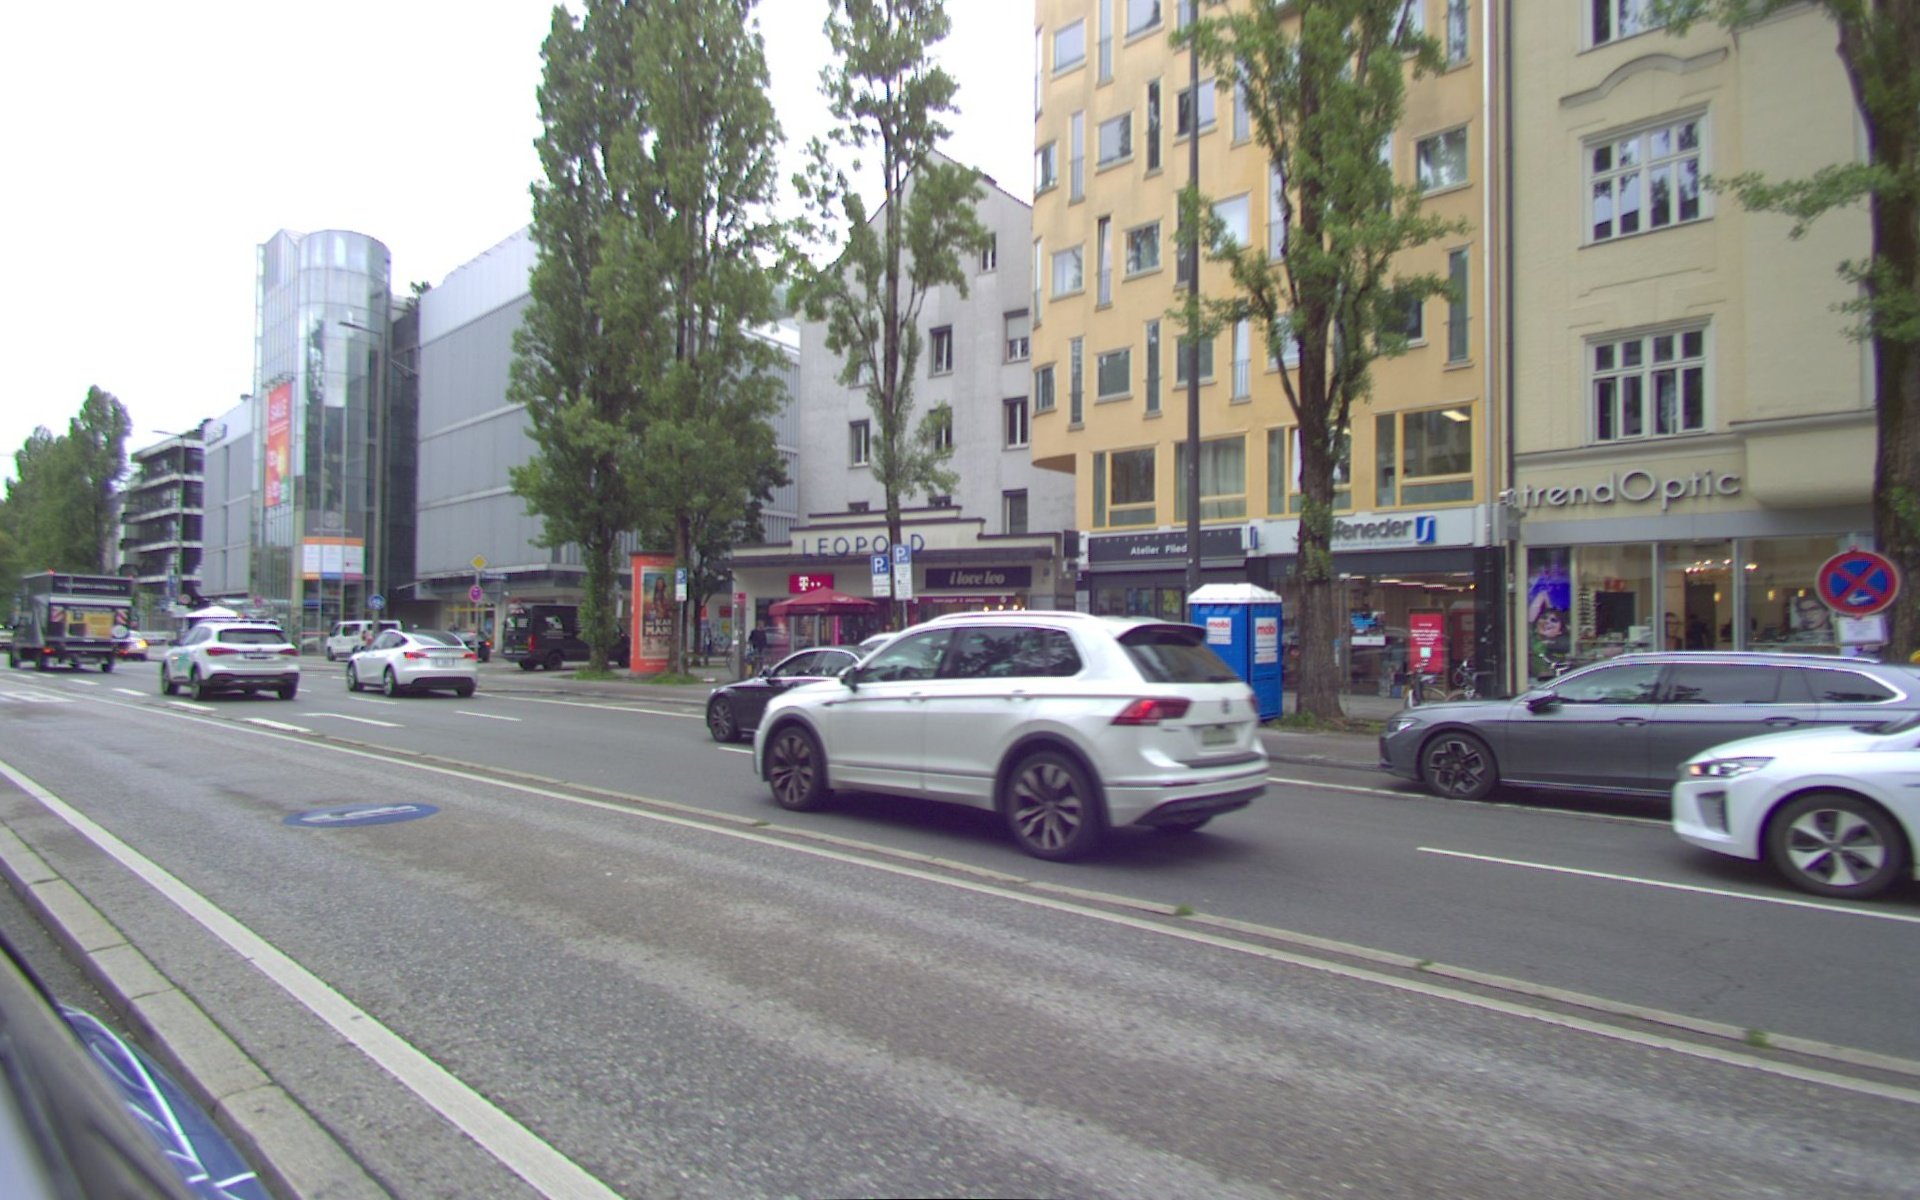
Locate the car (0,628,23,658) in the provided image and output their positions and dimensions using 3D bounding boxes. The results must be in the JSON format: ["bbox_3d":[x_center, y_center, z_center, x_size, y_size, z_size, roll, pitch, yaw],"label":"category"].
[{"bbox_3d":[-57.985,2.577,60.875,4.380,1.711,1.865,-2,-4,41],"label":"car"}]

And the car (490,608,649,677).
[{"bbox_3d":[-16.041,1.755,41.934,2.170,2.625,5.996,-1,-3,33],"label":"car"}]

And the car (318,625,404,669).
[{"bbox_3d":[-29.074,2.235,49.057,5.108,2.029,1.973,-2,-3,40],"label":"car"}]

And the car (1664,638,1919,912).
[{"bbox_3d":[6.733,0.979,5.586,4.456,1.505,1.918,-2,-3,42],"label":"car"}]

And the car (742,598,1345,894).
[{"bbox_3d":[0.422,0.899,7.912,4.463,1.655,1.918,-2,-3,42],"label":"car"}]

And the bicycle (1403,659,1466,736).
[{"bbox_3d":[6.965,1.395,14.824,0.621,1.049,1.624,-1,-3,32],"label":"bicycle"}]

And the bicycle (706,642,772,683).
[{"bbox_3d":[-7.457,2.102,34.132,2.299,1.318,0.839,-1,-3,36],"label":"bicycle"}]

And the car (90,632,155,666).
[{"bbox_3d":[-39.367,2.272,47.527,1.835,1.481,4.985,5,-5,-44],"label":"car"}]

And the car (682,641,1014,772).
[{"bbox_3d":[-1.637,1.290,13.620,4.537,1.445,1.918,-2,-3,42],"label":"car"}]

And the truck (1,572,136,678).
[{"bbox_3d":[-30.863,0.898,34.931,7.150,3.348,2.268,-1,-4,39],"label":"truck"}]

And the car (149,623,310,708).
[{"bbox_3d":[-16.407,1.414,22.642,4.533,1.724,1.841,-2,-4,40],"label":"car"}]

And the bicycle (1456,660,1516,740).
[{"bbox_3d":[7.521,1.392,14.436,0.621,1.049,1.624,-1,-3,32],"label":"bicycle"}]

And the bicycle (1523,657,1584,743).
[{"bbox_3d":[7.983,1.296,13.577,0.621,1.049,1.991,-1,-3,32],"label":"bicycle"}]

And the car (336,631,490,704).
[{"bbox_3d":[-13.759,1.624,25.340,4.636,1.664,1.972,-2,-4,43],"label":"car"}]

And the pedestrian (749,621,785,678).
[{"bbox_3d":[-6.605,1.693,34.663,0.831,1.913,0.850,-1,-3,34],"label":"pedestrian"}]

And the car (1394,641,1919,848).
[{"bbox_3d":[6.549,1.155,9.348,4.295,1.505,1.918,-2,-3,42],"label":"car"}]

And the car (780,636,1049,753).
[{"bbox_3d":[-0.848,1.436,16.618,4.383,1.642,1.971,-2,-3,45],"label":"car"}]

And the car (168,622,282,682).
[{"bbox_3d":[-25.194,1.762,34.608,5.710,1.878,1.972,-2,-5,42],"label":"car"}]

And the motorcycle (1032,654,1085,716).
[{"bbox_3d":[1.945,1.629,19.771,0.483,1.044,2.047,0,0,22],"label":"motorcycle"}]

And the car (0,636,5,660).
[{"bbox_3d":[-62.717,3.054,64.603,4.843,1.552,1.926,-2,-3,40],"label":"car"}]

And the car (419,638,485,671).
[{"bbox_3d":[-23.909,2.523,47.545,1.897,1.450,4.516,2,-3,-38],"label":"car"}]

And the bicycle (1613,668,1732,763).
[{"bbox_3d":[9.075,1.432,12.861,2.096,1.109,0.506,2,-3,-34],"label":"bicycle"}]

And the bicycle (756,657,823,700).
[{"bbox_3d":[-4.221,1.920,24.947,1.877,0.971,0.454,-1,-3,36],"label":"bicycle"}]
